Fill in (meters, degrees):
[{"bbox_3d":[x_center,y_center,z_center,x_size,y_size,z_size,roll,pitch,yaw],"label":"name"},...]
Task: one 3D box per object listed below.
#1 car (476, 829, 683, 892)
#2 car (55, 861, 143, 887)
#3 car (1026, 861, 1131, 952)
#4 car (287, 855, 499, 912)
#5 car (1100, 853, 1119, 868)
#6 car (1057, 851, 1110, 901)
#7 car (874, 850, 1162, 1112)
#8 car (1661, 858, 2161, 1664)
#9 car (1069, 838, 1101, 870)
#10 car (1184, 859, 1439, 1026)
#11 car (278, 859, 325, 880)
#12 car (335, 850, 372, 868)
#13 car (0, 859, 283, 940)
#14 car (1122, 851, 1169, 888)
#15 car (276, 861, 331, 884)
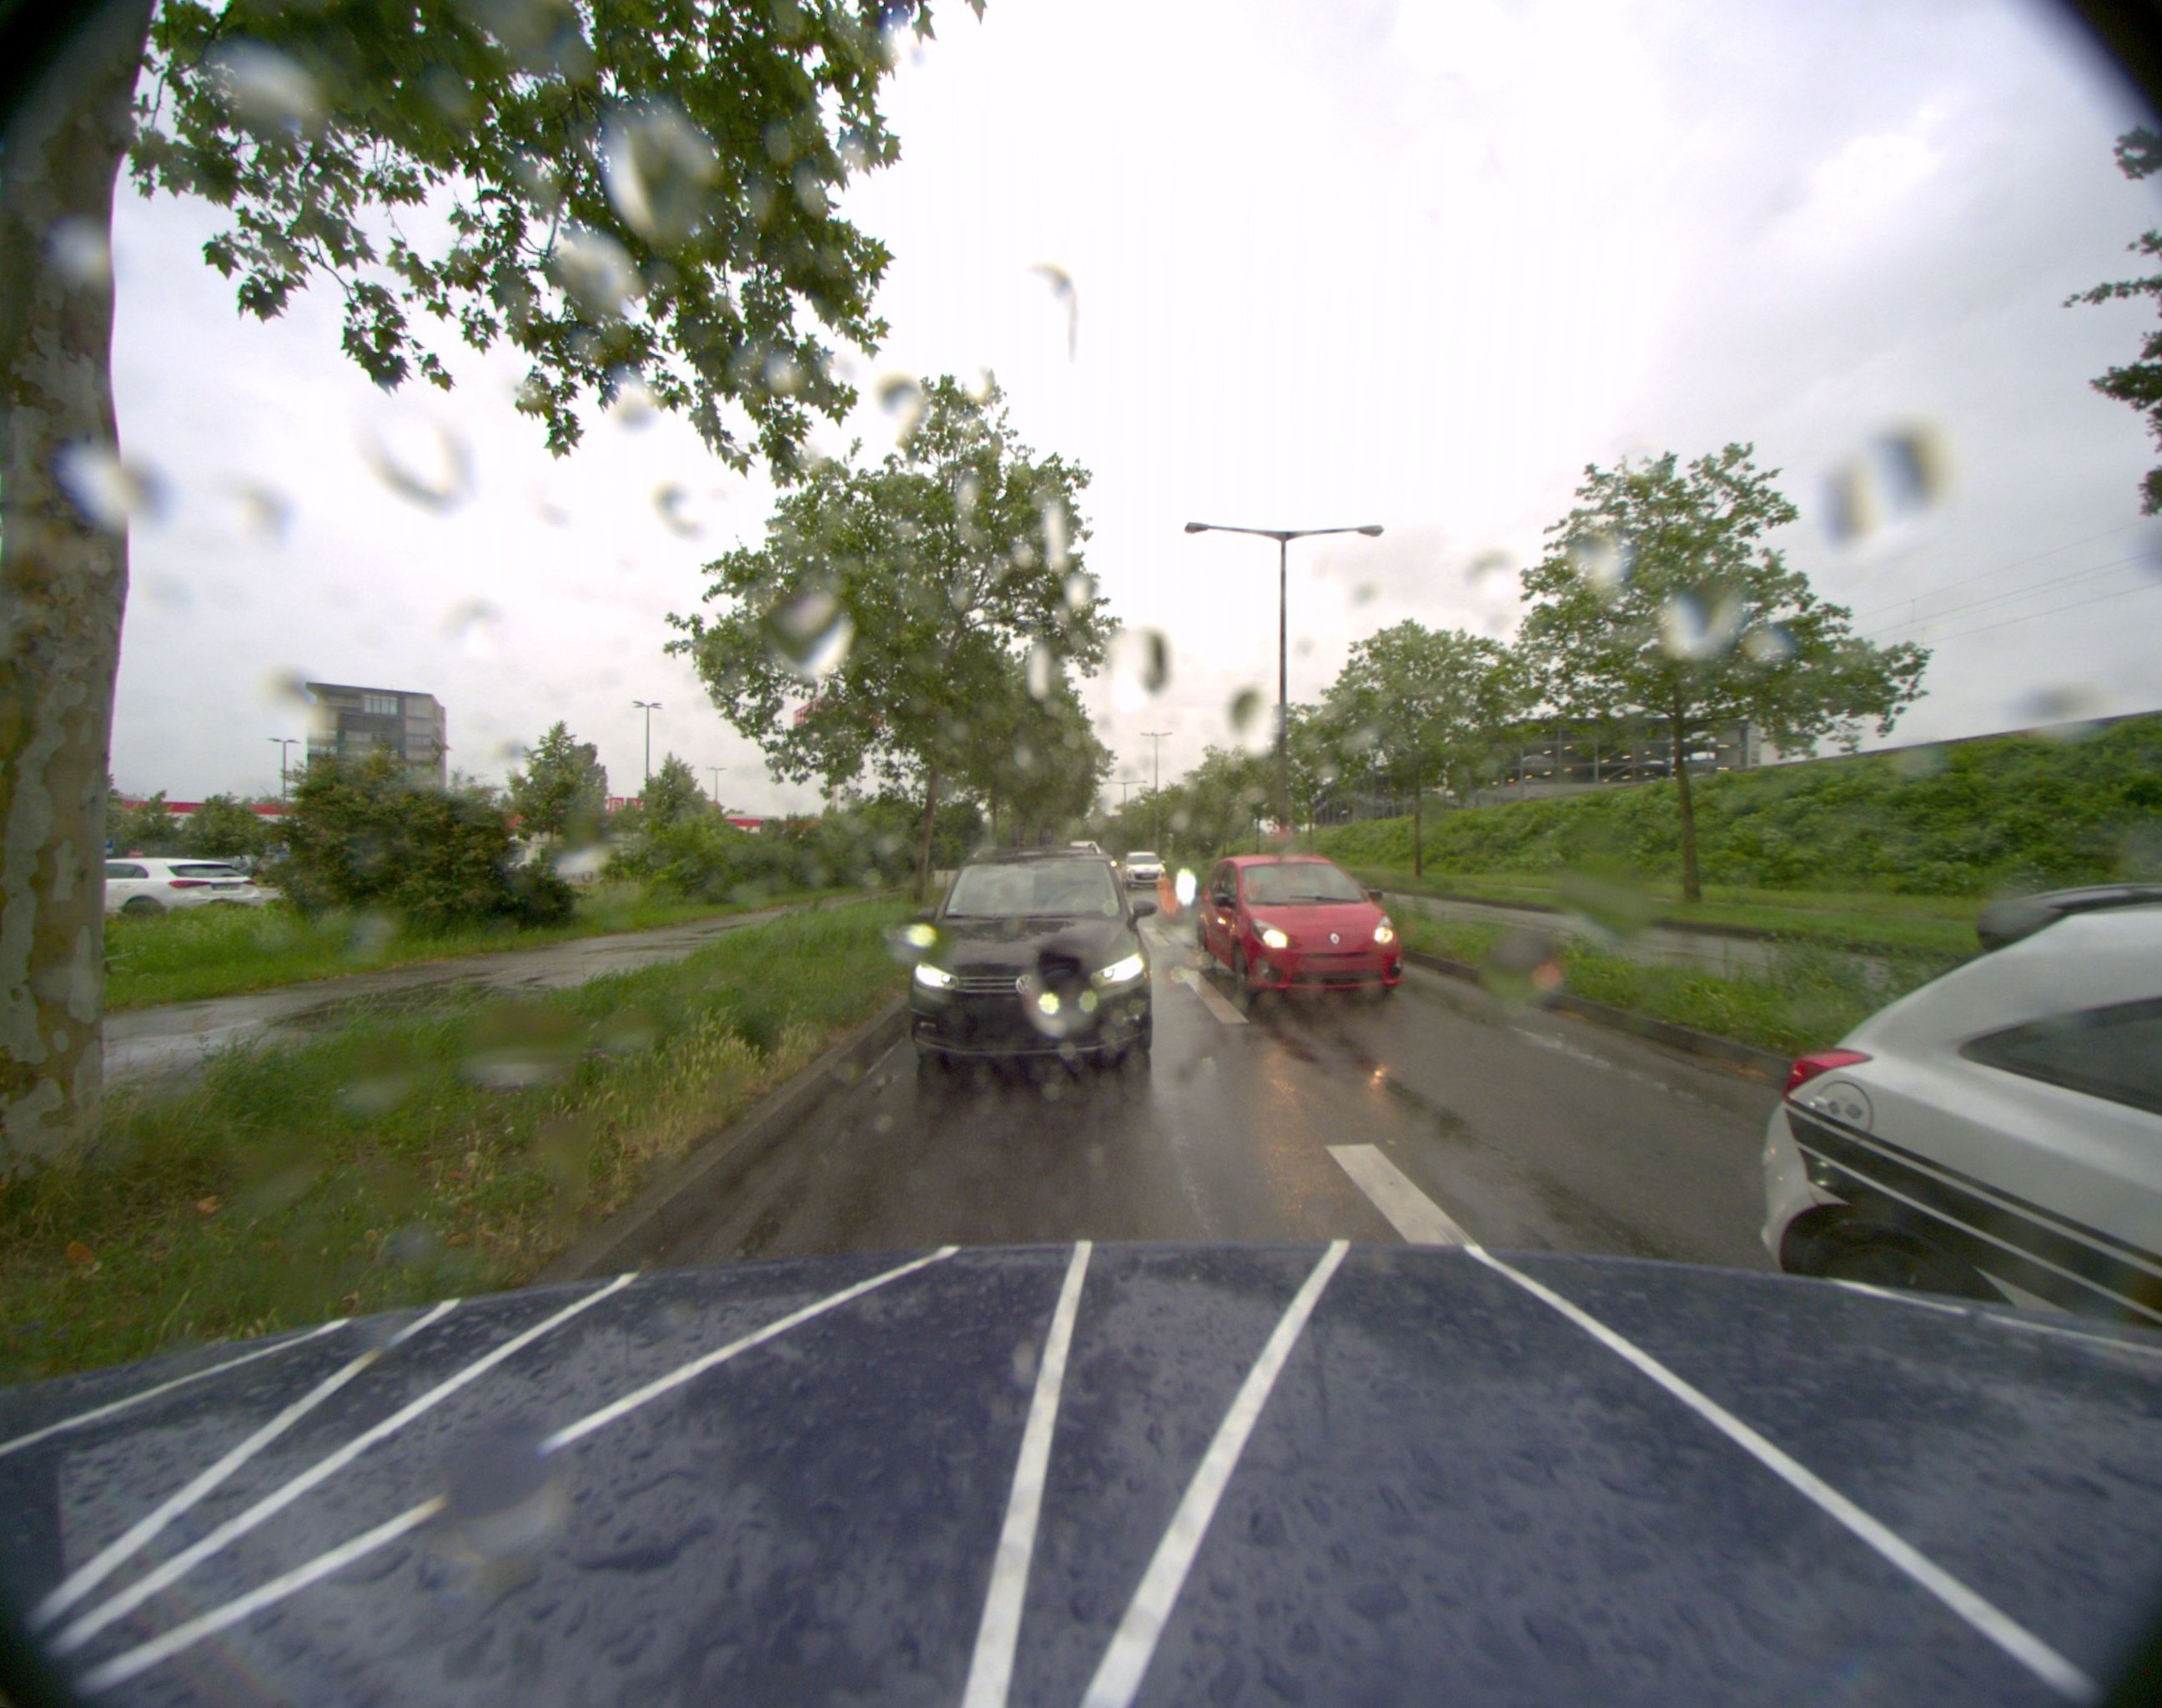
[{"bbox_3d":[-19.677,0.229,30.167,6.425,2.349,2.390,0,1,-8],"label":"car"},{"bbox_3d":[-61.940,1.225,48.021,1.933,1.543,4.262,0,1,-30],"label":"car"},{"bbox_3d":[-0.042,0.911,14.987,1.724,1.456,4.092,-2,0,0],"label":"car"},{"bbox_3d":[-19.955,0.824,22.220,4.272,1.543,1.929,0,1,-4],"label":"car"},{"bbox_3d":[3.013,0.682,82.077,1.715,1.494,3.999,-2,0,-2],"label":"car"},{"bbox_3d":[0.078,0.786,29.378,1.831,1.737,4.147,-2,0,0],"label":"car"},{"bbox_3d":[-0.443,0.800,7.163,1.771,1.596,4.626,-2,1,-1],"label":"car"},{"bbox_3d":[2.758,0.730,0.457,1.683,1.369,4.010,-2,0,-1],"label":"car"},{"bbox_3d":[0.318,-0.050,52.099,1.998,2.002,5.131,-2,1,1],"label":"car"},{"bbox_3d":[2.441,0.842,9.146,1.724,1.456,4.091,-2,0,-1],"label":"car"},{"bbox_3d":[-67.303,1.314,65.682,2.006,1.667,4.262,0,1,-34],"label":"car"},{"bbox_3d":[-68.846,0.439,71.933,2.006,1.667,4.261,0,1,-37],"label":"car"},{"bbox_3d":[-19.801,0.892,15.750,4.272,1.543,1.929,0,1,-4],"label":"car"},{"bbox_3d":[2.978,0.691,35.815,1.831,1.602,4.147,-2,0,0],"label":"car"},{"bbox_3d":[-57.154,1.326,55.925,1.933,1.543,4.262,0,1,-33],"label":"car"}]
